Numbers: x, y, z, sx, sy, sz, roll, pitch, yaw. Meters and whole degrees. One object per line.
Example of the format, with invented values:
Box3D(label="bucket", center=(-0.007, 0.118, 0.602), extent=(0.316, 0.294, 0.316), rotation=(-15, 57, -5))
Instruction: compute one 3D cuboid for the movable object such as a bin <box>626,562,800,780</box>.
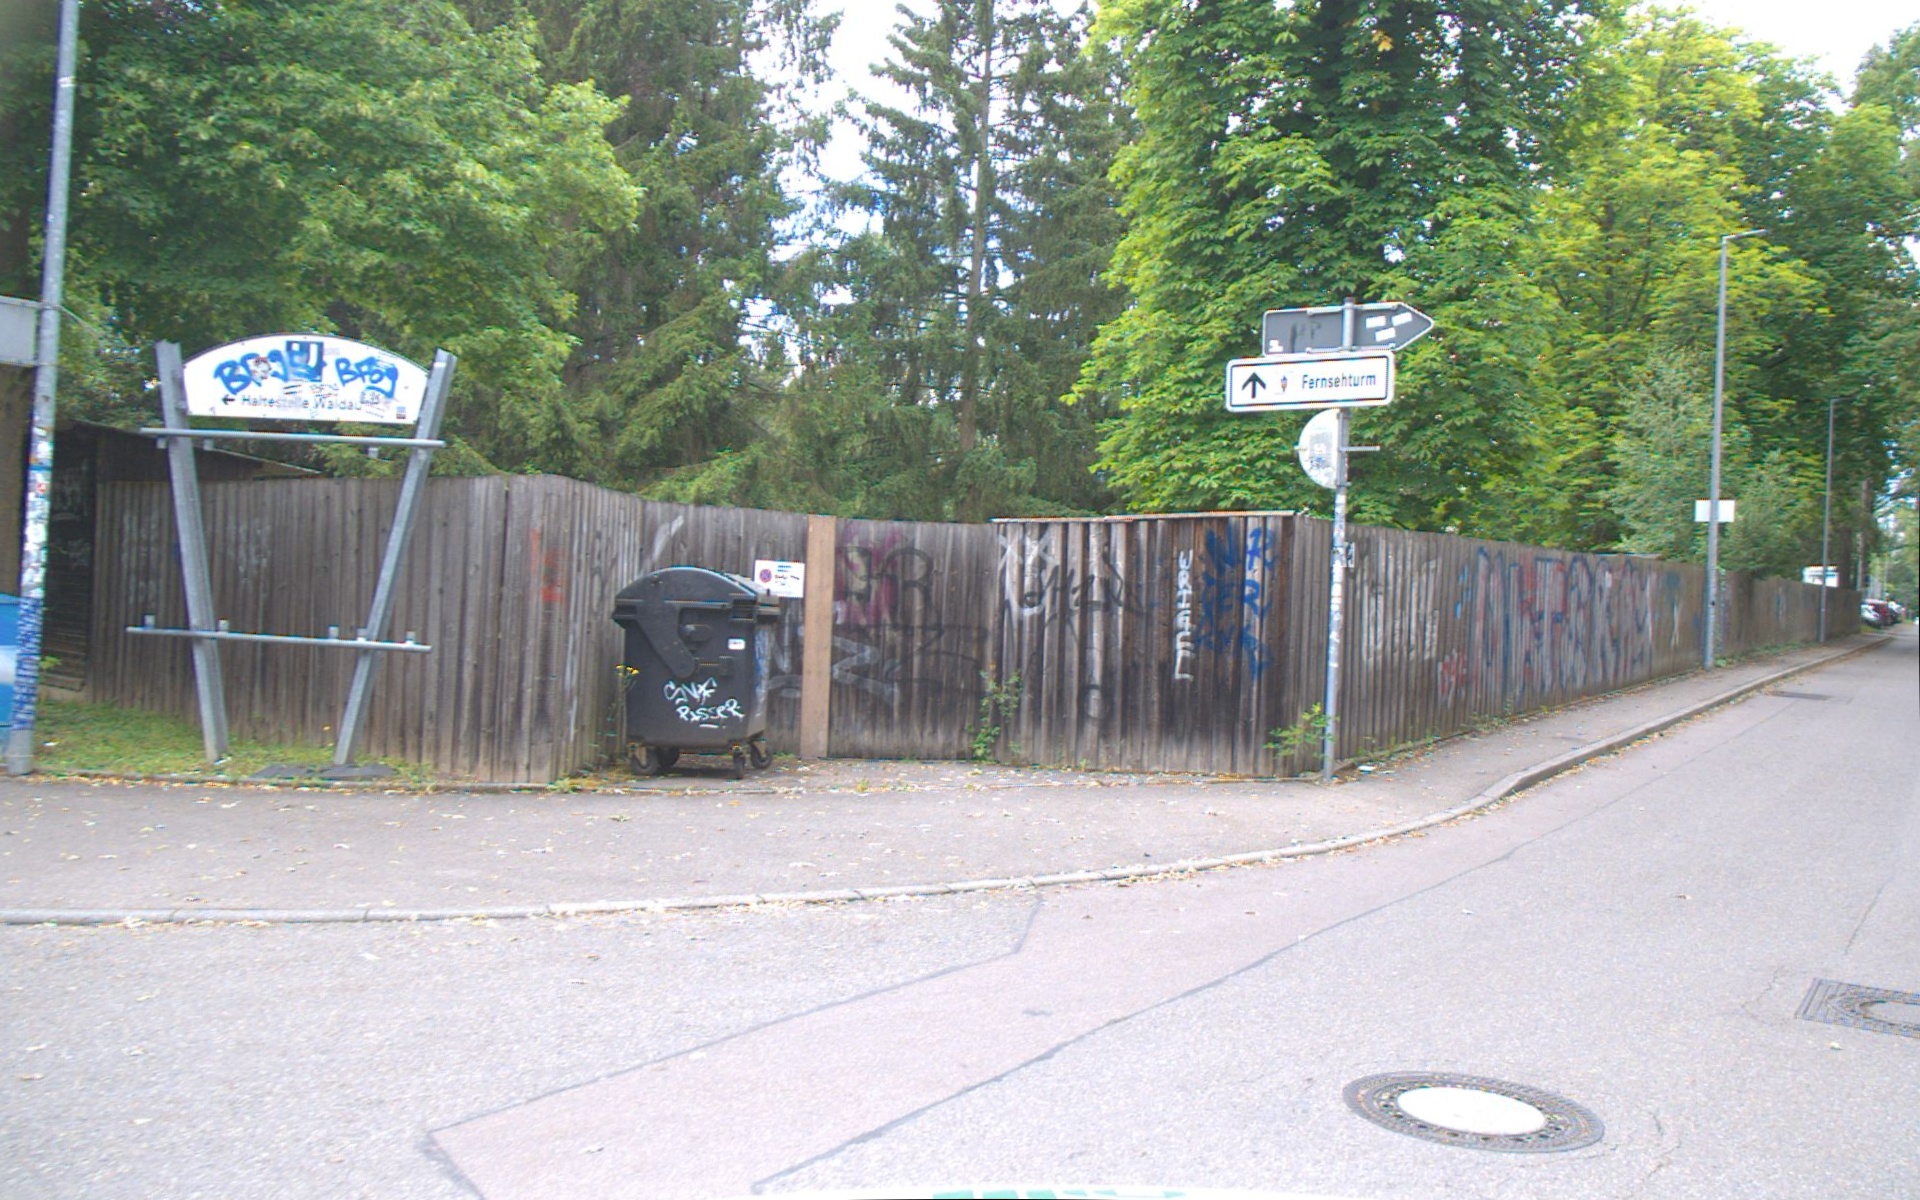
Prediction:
Box3D(label="movable object such as a bin", center=(-1.758, 0.490, 12.006), extent=(1.053, 1.468, 1.285), rotation=(1, 0, -1))

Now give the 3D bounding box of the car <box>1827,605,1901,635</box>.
Box3D(label="car", center=(55.401, 1.197, 101.428), extent=(3.912, 1.601, 1.997), rotation=(3, 1, 29))

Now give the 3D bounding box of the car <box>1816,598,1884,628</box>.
Box3D(label="car", center=(59.596, 0.879, 110.741), extent=(3.912, 1.780, 1.997), rotation=(3, 1, 29))

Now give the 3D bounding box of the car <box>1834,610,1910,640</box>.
Box3D(label="car", center=(54.645, 1.497, 99.139), extent=(3.912, 1.601, 1.997), rotation=(3, 1, 29))
